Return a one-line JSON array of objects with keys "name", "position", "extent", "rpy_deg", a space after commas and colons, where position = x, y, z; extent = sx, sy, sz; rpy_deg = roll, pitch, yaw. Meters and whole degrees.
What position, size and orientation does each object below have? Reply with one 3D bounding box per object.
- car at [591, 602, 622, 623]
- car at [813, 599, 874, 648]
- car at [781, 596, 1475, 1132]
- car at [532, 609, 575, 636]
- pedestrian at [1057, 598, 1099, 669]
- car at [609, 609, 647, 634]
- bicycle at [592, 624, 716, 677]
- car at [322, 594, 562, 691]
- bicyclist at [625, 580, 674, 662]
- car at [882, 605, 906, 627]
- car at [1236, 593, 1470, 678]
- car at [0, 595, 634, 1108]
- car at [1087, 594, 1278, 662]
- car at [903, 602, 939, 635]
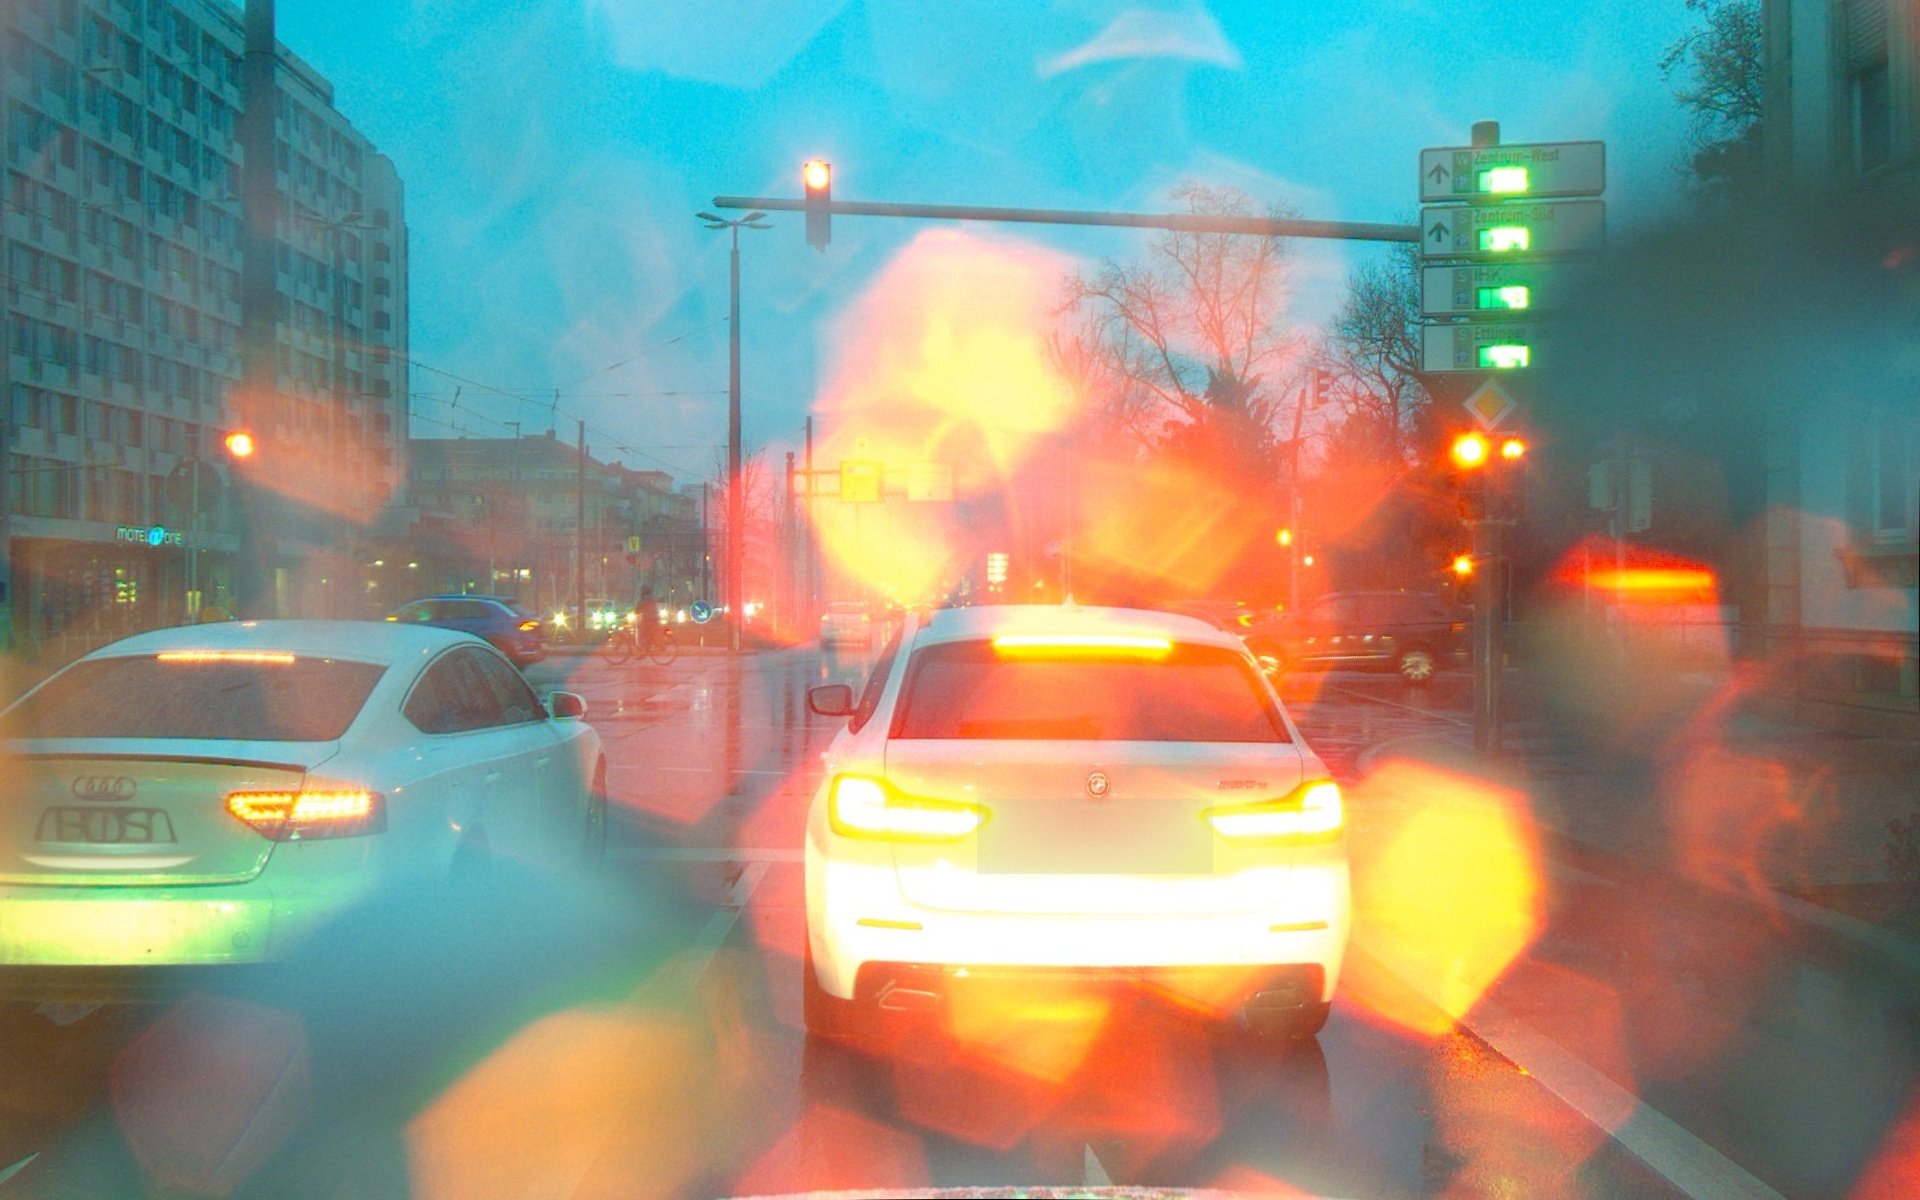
[{"name": "car", "position": [-27.124, 0.955, 126.953], "extent": [1.641, 1.534, 3.695], "rpy_deg": [1, -1, -1]}, {"name": "car", "position": [-4.004, 0.798, 56.449], "extent": [1.711, 1.581, 3.960], "rpy_deg": [2, -1, -9]}, {"name": "car", "position": [0.383, 0.735, 6.828], "extent": [1.954, 1.481, 4.366], "rpy_deg": [0, 0, -3]}, {"name": "car", "position": [-24.294, 1.355, 98.957], "extent": [1.641, 1.534, 3.695], "rpy_deg": [1, -1, -1]}, {"name": "pedestrian", "position": [3.215, 0.908, 45.134], "extent": [0.884, 1.888, 0.812], "rpy_deg": [1, -1, 23]}, {"name": "car", "position": [-20.730, 1.350, 103.327], "extent": [1.641, 1.534, 3.695], "rpy_deg": [1, -1, -1]}, {"name": "bicycle", "position": [-6.835, 1.118, 37.051], "extent": [2.614, 1.108, 0.814], "rpy_deg": [1, -1, -4]}, {"name": "car", "position": [-9.516, 0.781, 30.620], "extent": [3.909, 1.651, 1.717], "rpy_deg": [2, -1, -5]}, {"name": "bicyclist", "position": [-6.953, 0.479, 37.062], "extent": [0.953, 1.789, 0.813], "rpy_deg": [1, -1, -4]}, {"name": "car", "position": [-5.211, 1.293, 131.466], "extent": [1.806, 1.637, 3.943], "rpy_deg": [1, -1, -2]}, {"name": "car", "position": [7.125, 0.631, 30.072], "extent": [4.005, 1.466, 1.841], "rpy_deg": [0, -1, 14]}, {"name": "car", "position": [-2.699, 0.727, 6.999], "extent": [1.954, 1.481, 4.366], "rpy_deg": [0, 0, -3]}, {"name": "car", "position": [5.017, 0.618, 37.402], "extent": [3.911, 1.426, 1.755], "rpy_deg": [1, -1, 28]}, {"name": "car", "position": [-2.066, 0.963, 86.495], "extent": [1.806, 1.637, 3.943], "rpy_deg": [1, -1, -2]}]
